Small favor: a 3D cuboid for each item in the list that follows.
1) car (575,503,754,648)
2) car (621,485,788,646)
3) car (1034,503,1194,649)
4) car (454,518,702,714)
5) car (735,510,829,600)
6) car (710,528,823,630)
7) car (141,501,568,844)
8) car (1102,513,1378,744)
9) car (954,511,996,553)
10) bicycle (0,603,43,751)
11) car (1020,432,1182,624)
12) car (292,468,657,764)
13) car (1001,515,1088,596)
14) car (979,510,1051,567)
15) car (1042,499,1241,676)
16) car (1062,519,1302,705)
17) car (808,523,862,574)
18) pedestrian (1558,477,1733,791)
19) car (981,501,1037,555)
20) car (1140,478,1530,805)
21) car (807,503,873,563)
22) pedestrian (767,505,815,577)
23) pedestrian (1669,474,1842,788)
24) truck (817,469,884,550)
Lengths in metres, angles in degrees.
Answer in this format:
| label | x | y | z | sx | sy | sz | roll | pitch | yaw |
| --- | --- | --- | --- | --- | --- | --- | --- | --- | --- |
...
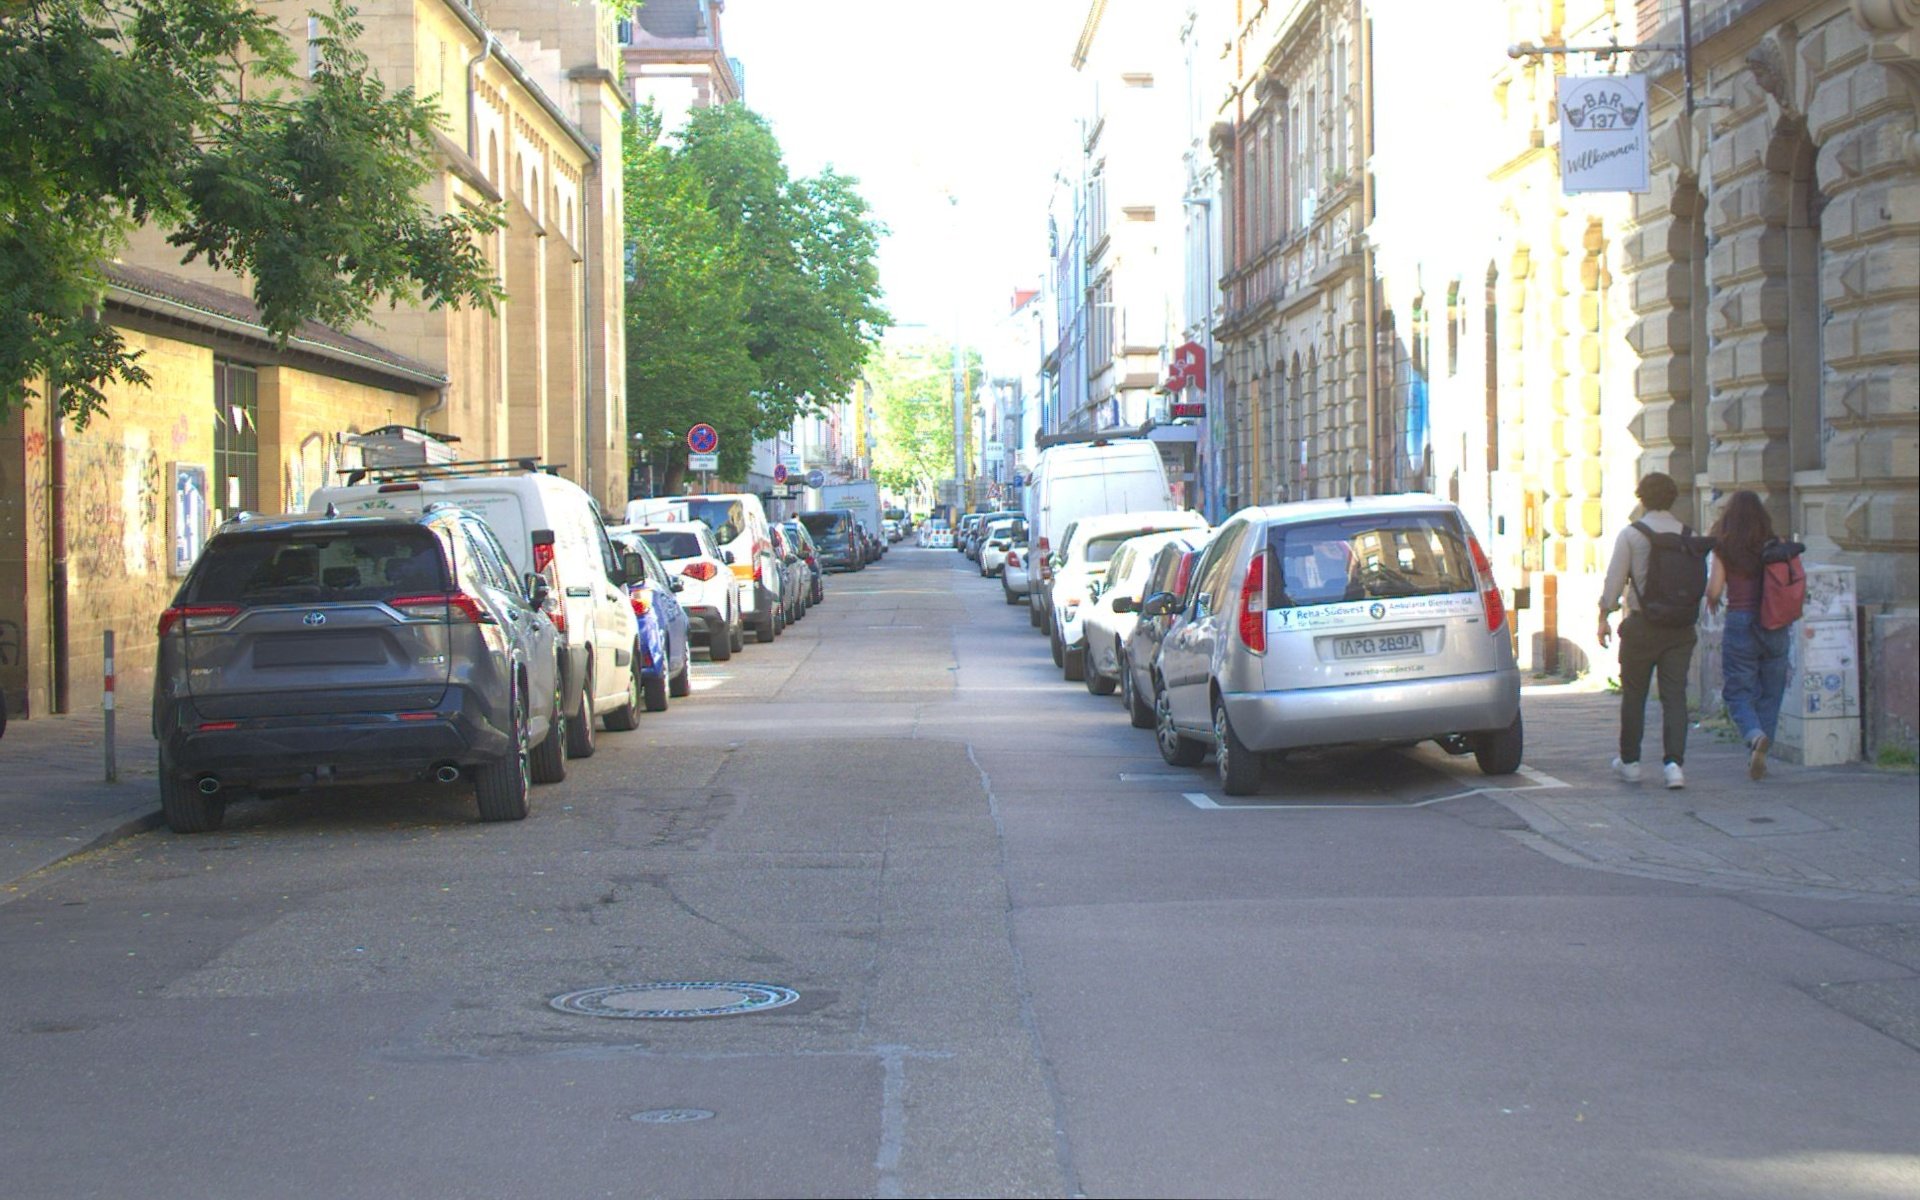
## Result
| label | x | y | z | sx | sy | sz | roll | pitch | yaw |
| --- | --- | --- | --- | --- | --- | --- | --- | --- | --- |
| car | -3.390 | -0.323 | 40.031 | 1.742 | 1.580 | 3.869 | -1 | 1 | 0 |
| car | -3.362 | -0.501 | 45.915 | 1.864 | 1.950 | 4.611 | -3 | 2 | -1 |
| car | 1.808 | -0.327 | 41.357 | 1.687 | 1.637 | 3.925 | -1 | 2 | 0 |
| car | -3.229 | 0.086 | 29.687 | 1.687 | 1.471 | 3.861 | -3 | 2 | -1 |
| car | -3.435 | -0.905 | 66.862 | 1.600 | 1.608 | 3.809 | -3 | 1 | -1 |
| car | -3.188 | -0.372 | 57.195 | 1.673 | 1.553 | 4.001 | -2 | 2 | -1 |
| car | -3.214 | 0.295 | 19.018 | 1.740 | 1.641 | 4.290 | -1 | 2 | -3 |
| car | 1.972 | 0.147 | 25.132 | 1.535 | 1.508 | 3.682 | -2 | 2 | -2 |
| car | 0.733 | -3.396 | 170.606 | 1.993 | 2.006 | 4.000 | -1 | 2 | 0 |
| bicycle | -7.004 | 0.475 | 22.463 | 1.762 | 0.920 | 0.826 | 2 | 2 | 8 |
| car | 1.972 | -1.069 | 49.803 | 2.068 | 2.602 | 5.888 | -1 | 2 | 0 |
| car | -3.305 | 0.026 | 24.262 | 1.845 | 1.856 | 4.465 | -1 | 2 | 1 |
| car | 1.595 | -0.874 | 65.568 | 1.603 | 1.499 | 4.000 | 0 | 2 | 1 |
| car | 1.481 | -1.713 | 94.398 | 1.897 | 1.483 | 3.870 | -1 | 2 | 0 |
| car | 1.793 | -0.160 | 35.142 | 1.808 | 1.684 | 4.214 | 1 | 1 | 0 |
| car | 1.910 | 0.055 | 30.602 | 1.572 | 1.520 | 3.909 | 1 | 1 | -4 |
| car | -4.672 | -1.923 | 127.841 | 1.875 | 1.790 | 4.001 | -1 | 2 | -3 |
| pedestrian | 3.611 | 0.165 | 18.145 | 0.590 | 1.598 | 0.728 | -3 | 2 | -15 |
| car | 1.610 | -2.422 | 114.838 | 1.769 | 1.735 | 4.000 | -1 | 2 | 0 |
| car | 2.130 | 0.170 | 20.532 | 1.703 | 1.708 | 3.938 | -2 | 2 | -2 |
| car | -3.696 | -2.098 | 106.465 | 1.875 | 1.790 | 4.000 | -1 | 2 | 0 |
| pedestrian | -4.408 | -1.545 | 89.782 | 0.784 | 1.837 | 1.010 | 1 | 2 | 34 |
| pedestrian | 4.239 | 0.152 | 18.343 | 0.574 | 1.616 | 0.734 | -3 | 2 | -14 |
| truck | -4.568 | -3.787 | 144.523 | 2.532 | 3.270 | 6.995 | -1 | 2 | 0 |
